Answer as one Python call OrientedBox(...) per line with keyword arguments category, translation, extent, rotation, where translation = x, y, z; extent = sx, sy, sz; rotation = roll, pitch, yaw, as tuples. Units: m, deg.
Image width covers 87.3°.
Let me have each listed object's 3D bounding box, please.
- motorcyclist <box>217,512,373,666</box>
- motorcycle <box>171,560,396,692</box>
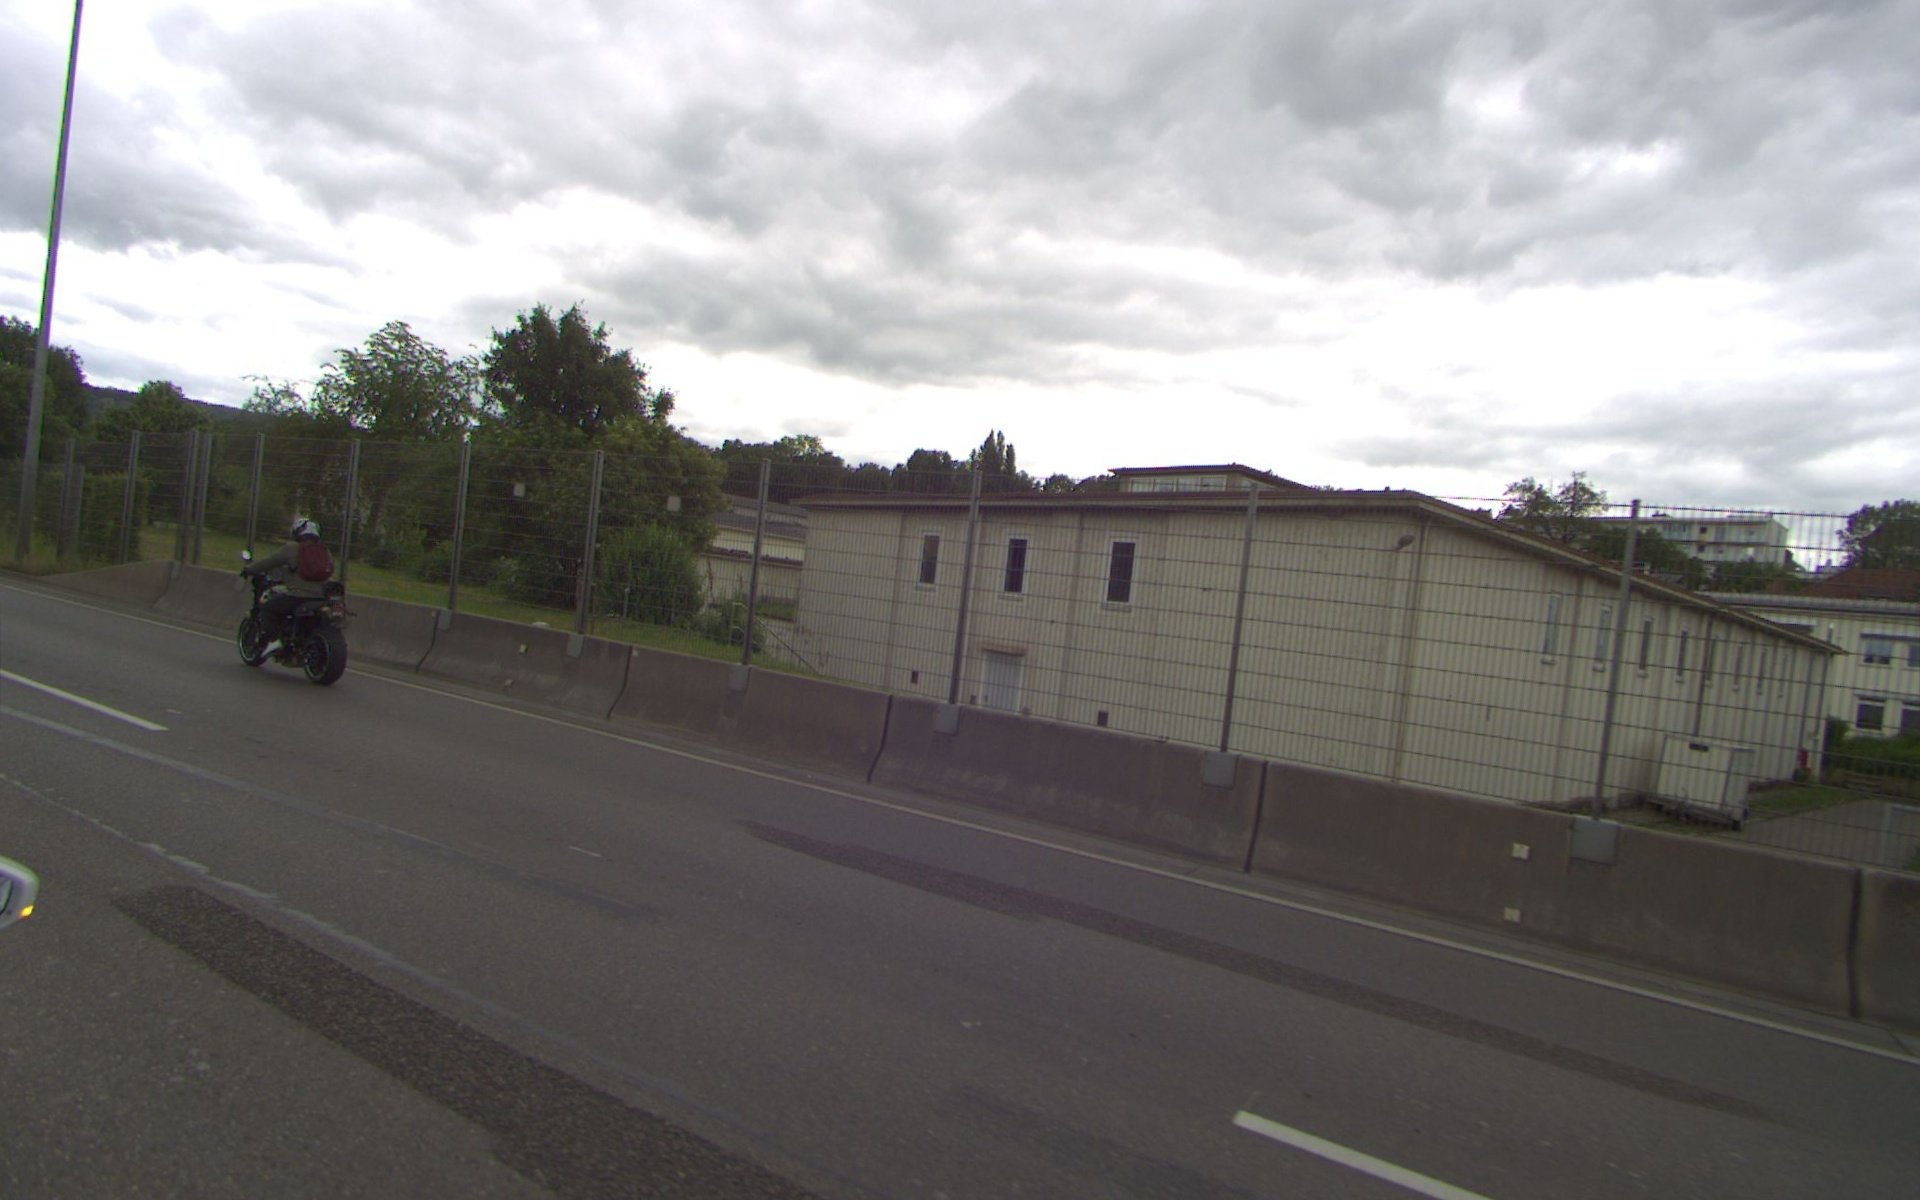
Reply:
OrientedBox(category="motorcyclist", translation=(-7.156, -0.107, 10.844), extent=(0.949, 1.494, 0.915), rotation=(7, 0, 26))
OrientedBox(category="motorcycle", translation=(-7.382, 0.262, 10.936), extent=(2.617, 1.097, 0.745), rotation=(7, 0, 26))
